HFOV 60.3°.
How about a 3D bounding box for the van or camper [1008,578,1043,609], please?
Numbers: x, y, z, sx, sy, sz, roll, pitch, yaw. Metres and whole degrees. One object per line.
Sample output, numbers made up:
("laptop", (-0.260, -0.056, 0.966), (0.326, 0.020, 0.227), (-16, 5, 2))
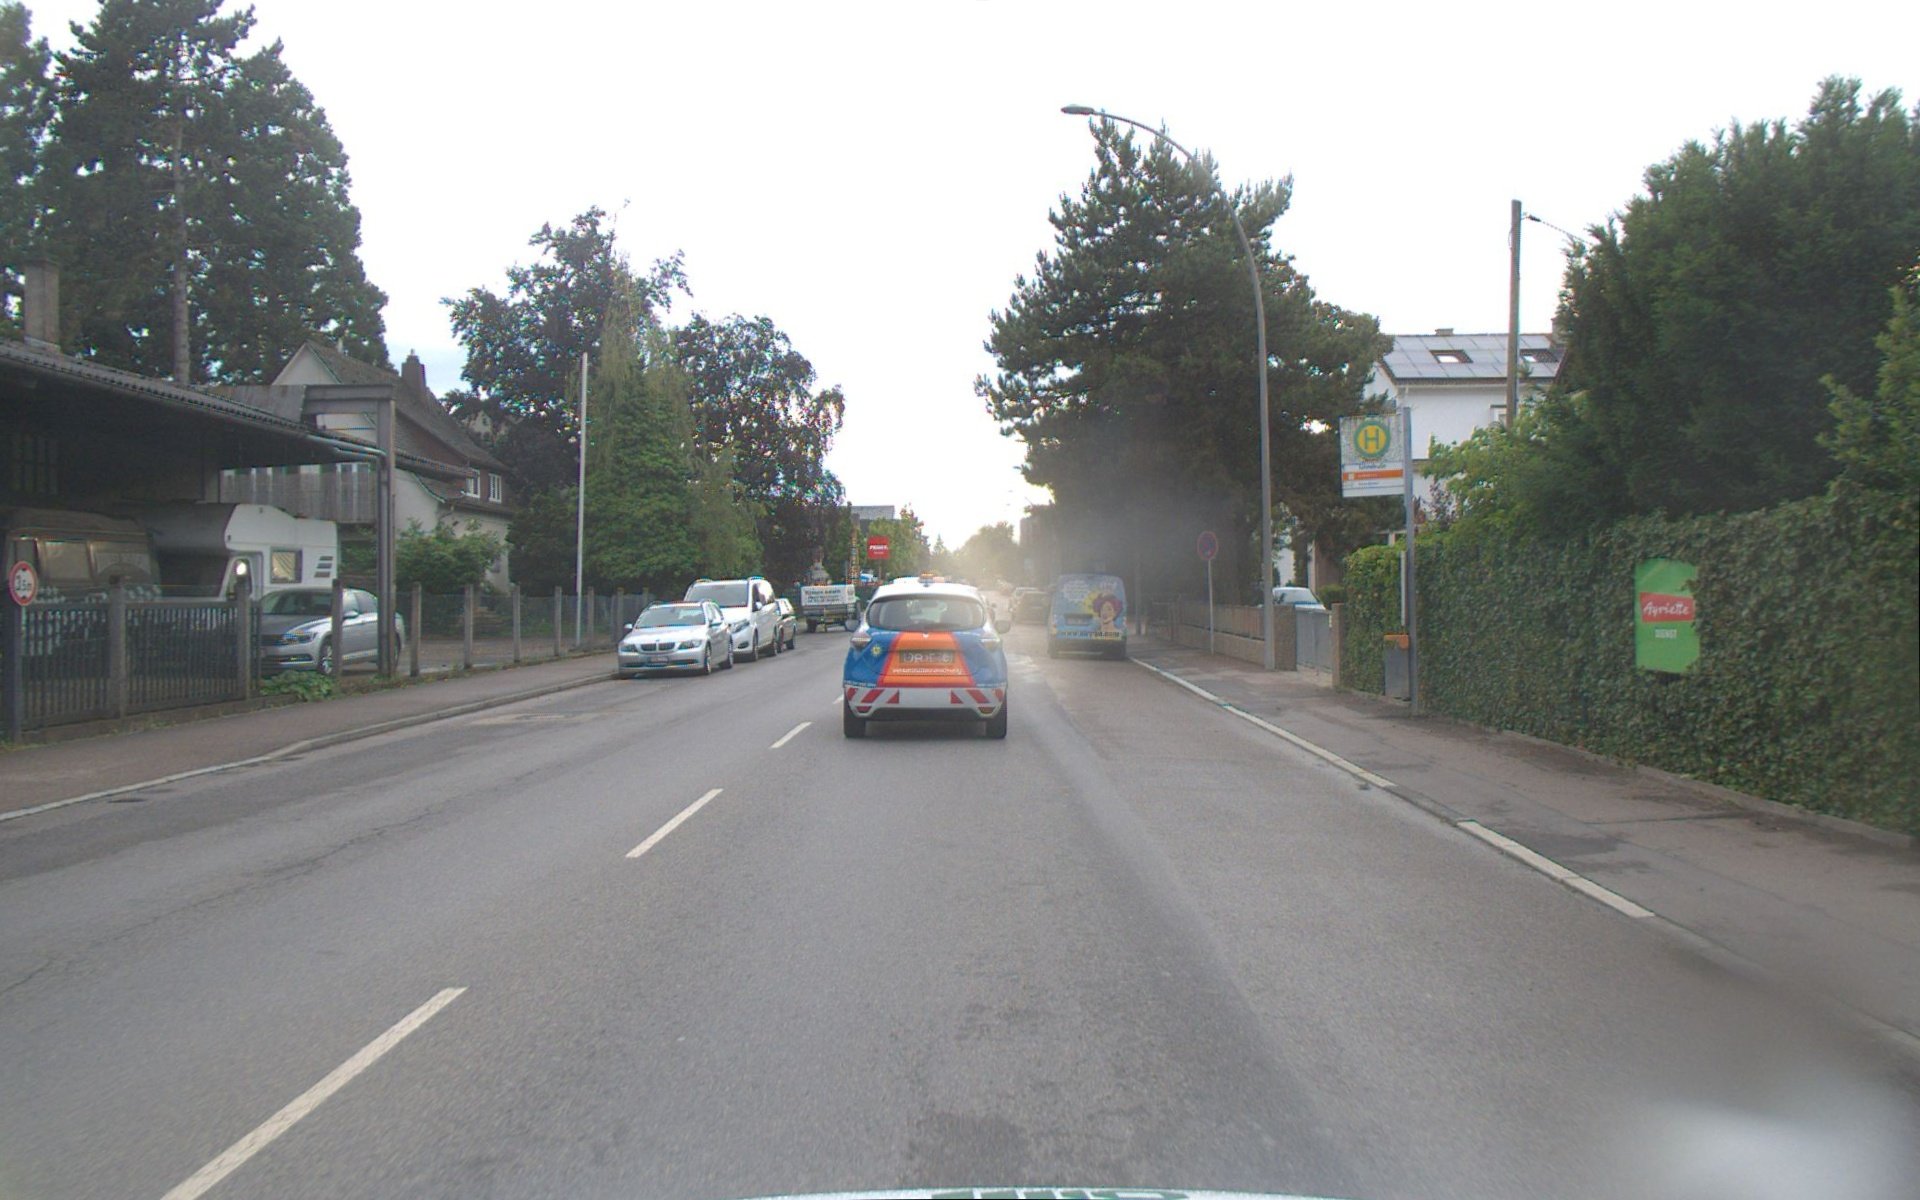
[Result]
("van or camper", (3.951, -0.384, 100.104), (1.953, 1.816, 4.000), (-1, 0, 0))

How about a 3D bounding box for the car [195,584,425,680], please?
("car", (-10.782, 0.516, 27.862), (1.896, 1.469, 4.782), (0, -1, 1))

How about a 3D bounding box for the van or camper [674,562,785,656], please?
("van or camper", (-5.402, 0.266, 39.399), (1.852, 2.049, 5.096), (2, -2, 0))

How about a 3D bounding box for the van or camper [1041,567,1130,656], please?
("van or camper", (2.827, 0.238, 38.100), (1.718, 1.916, 4.000), (0, 0, 0))

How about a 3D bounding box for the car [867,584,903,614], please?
("car", (-4.425, -0.024, 97.652), (1.953, 1.624, 3.999), (2, -2, -1))

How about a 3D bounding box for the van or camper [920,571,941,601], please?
("van or camper", (-2.859, -1.364, 161.672), (1.953, 2.823, 5.440), (-1, 0, 0))

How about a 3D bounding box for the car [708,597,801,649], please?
("car", (-5.546, 0.592, 45.095), (1.952, 1.310, 4.001), (-1, 0, 1))

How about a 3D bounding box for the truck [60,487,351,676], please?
("truck", (-13.293, -0.265, 29.714), (2.345, 2.978, 5.957), (2, -1, 1))

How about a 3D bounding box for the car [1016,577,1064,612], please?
("car", (3.632, -0.264, 75.416), (1.953, 1.563, 4.000), (-1, 0, 0))

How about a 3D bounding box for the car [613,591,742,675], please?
("car", (-5.556, 0.678, 32.982), (1.706, 1.506, 4.184), (-2, -2, 1))

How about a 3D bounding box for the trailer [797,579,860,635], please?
("trailer", (-5.169, 0.314, 65.600), (2.175, 2.049, 4.435), (2, -2, -1))

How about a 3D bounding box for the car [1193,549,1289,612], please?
("car", (7.699, -0.507, 45.673), (1.953, 1.512, 3.999), (2, -2, 0))

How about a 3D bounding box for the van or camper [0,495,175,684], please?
("van or camper", (-13.586, -0.105, 23.991), (1.821, 2.480, 5.232), (2, -2, -1))

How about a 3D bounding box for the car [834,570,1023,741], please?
("car", (-0.351, 0.531, 18.193), (1.850, 1.660, 3.999), (0, 0, -1))

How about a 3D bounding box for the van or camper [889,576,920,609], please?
("van or camper", (-4.070, -0.563, 122.432), (2.117, 2.394, 4.333), (-1, 0, 0))

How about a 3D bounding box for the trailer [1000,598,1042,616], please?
("trailer", (2.929, 0.334, 80.136), (1.899, 0.767, 2.859), (-1, 0, -1))
